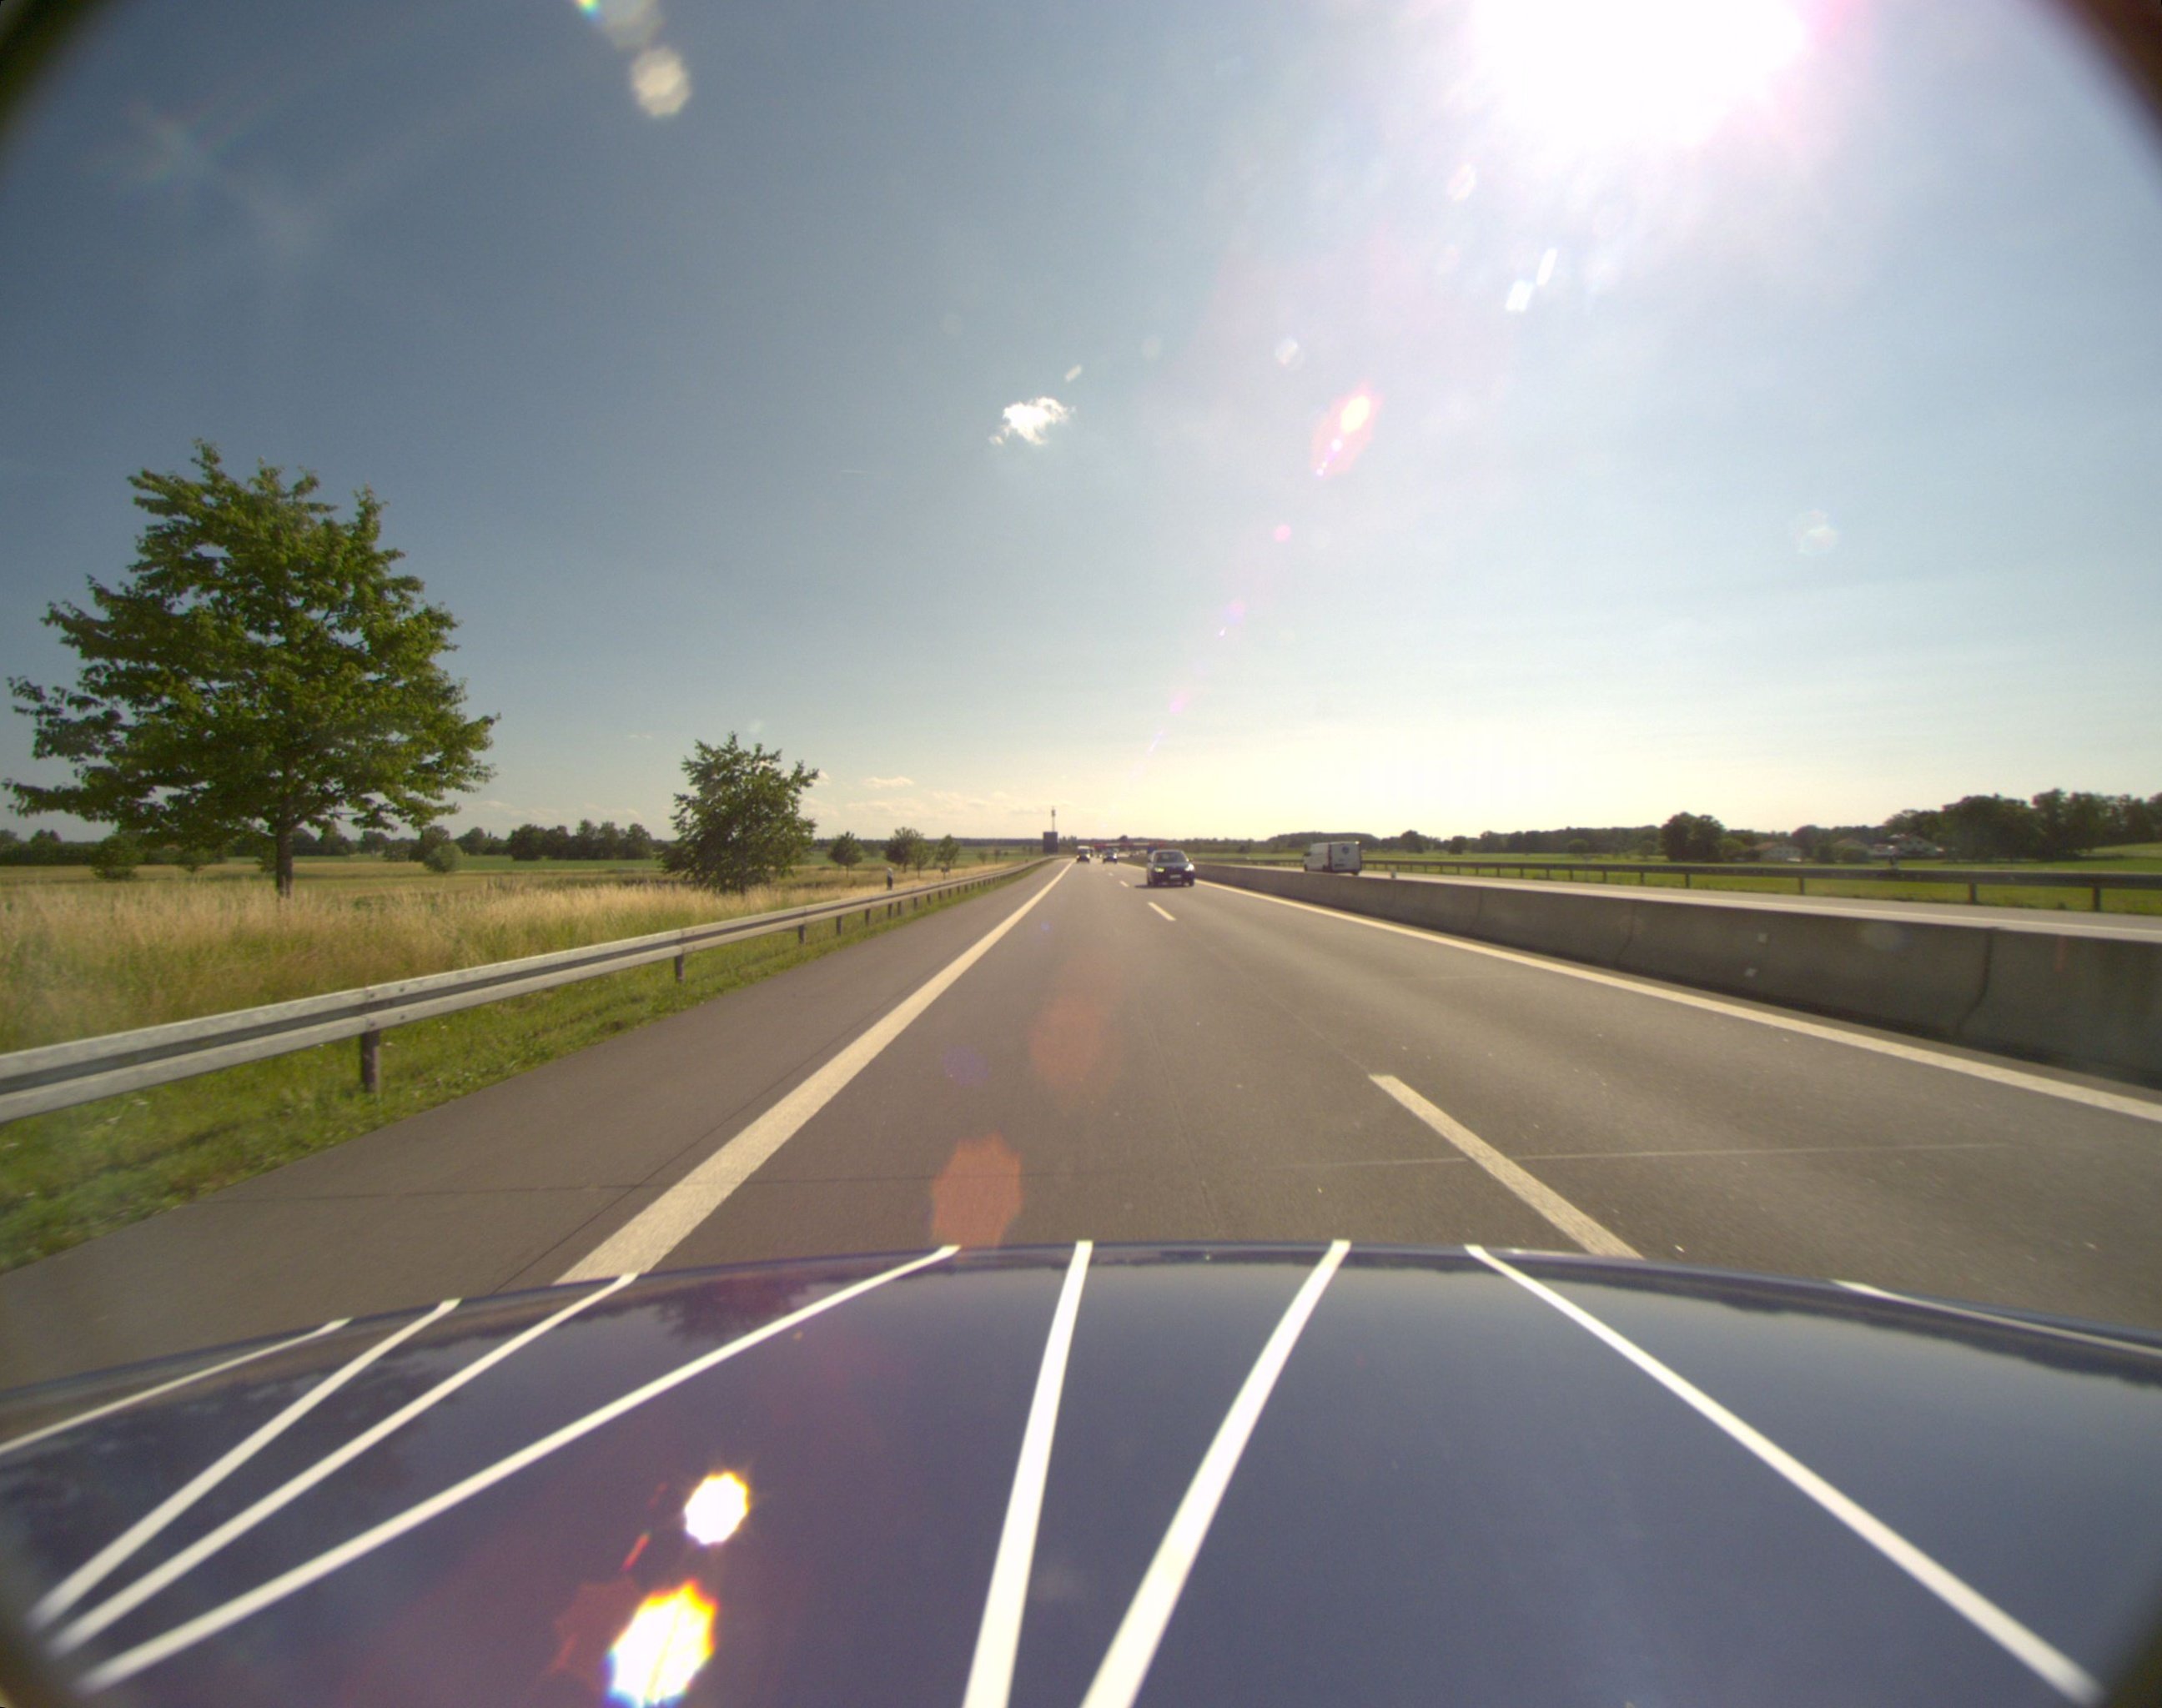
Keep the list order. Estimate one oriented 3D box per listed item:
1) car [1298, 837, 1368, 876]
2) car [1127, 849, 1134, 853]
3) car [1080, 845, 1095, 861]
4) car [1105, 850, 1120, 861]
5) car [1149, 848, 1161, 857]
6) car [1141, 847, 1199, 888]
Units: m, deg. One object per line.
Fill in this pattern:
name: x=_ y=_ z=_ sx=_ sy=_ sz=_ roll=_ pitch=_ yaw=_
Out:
car: x=14.407 y=0.091 z=43.820 sx=1.999 sy=2.002 sz=5.714 roll=-3 pitch=1 yaw=-1
car: x=16.826 y=-1.013 z=259.310 sx=1.902 sy=1.514 sz=4.805 roll=2 pitch=1 yaw=1
car: x=0.925 y=-0.178 z=109.183 sx=2.030 sy=2.225 sz=4.818 roll=1 pitch=1 yaw=2
car: x=4.526 y=0.210 z=111.202 sx=2.030 sy=1.600 sz=4.818 roll=-1 pitch=0 yaw=1
car: x=14.907 y=-0.206 z=153.697 sx=1.912 sy=1.675 sz=5.007 roll=-3 pitch=0 yaw=1
car: x=3.943 y=0.566 z=34.331 sx=2.030 sy=1.600 sz=4.817 roll=-3 pitch=1 yaw=1
